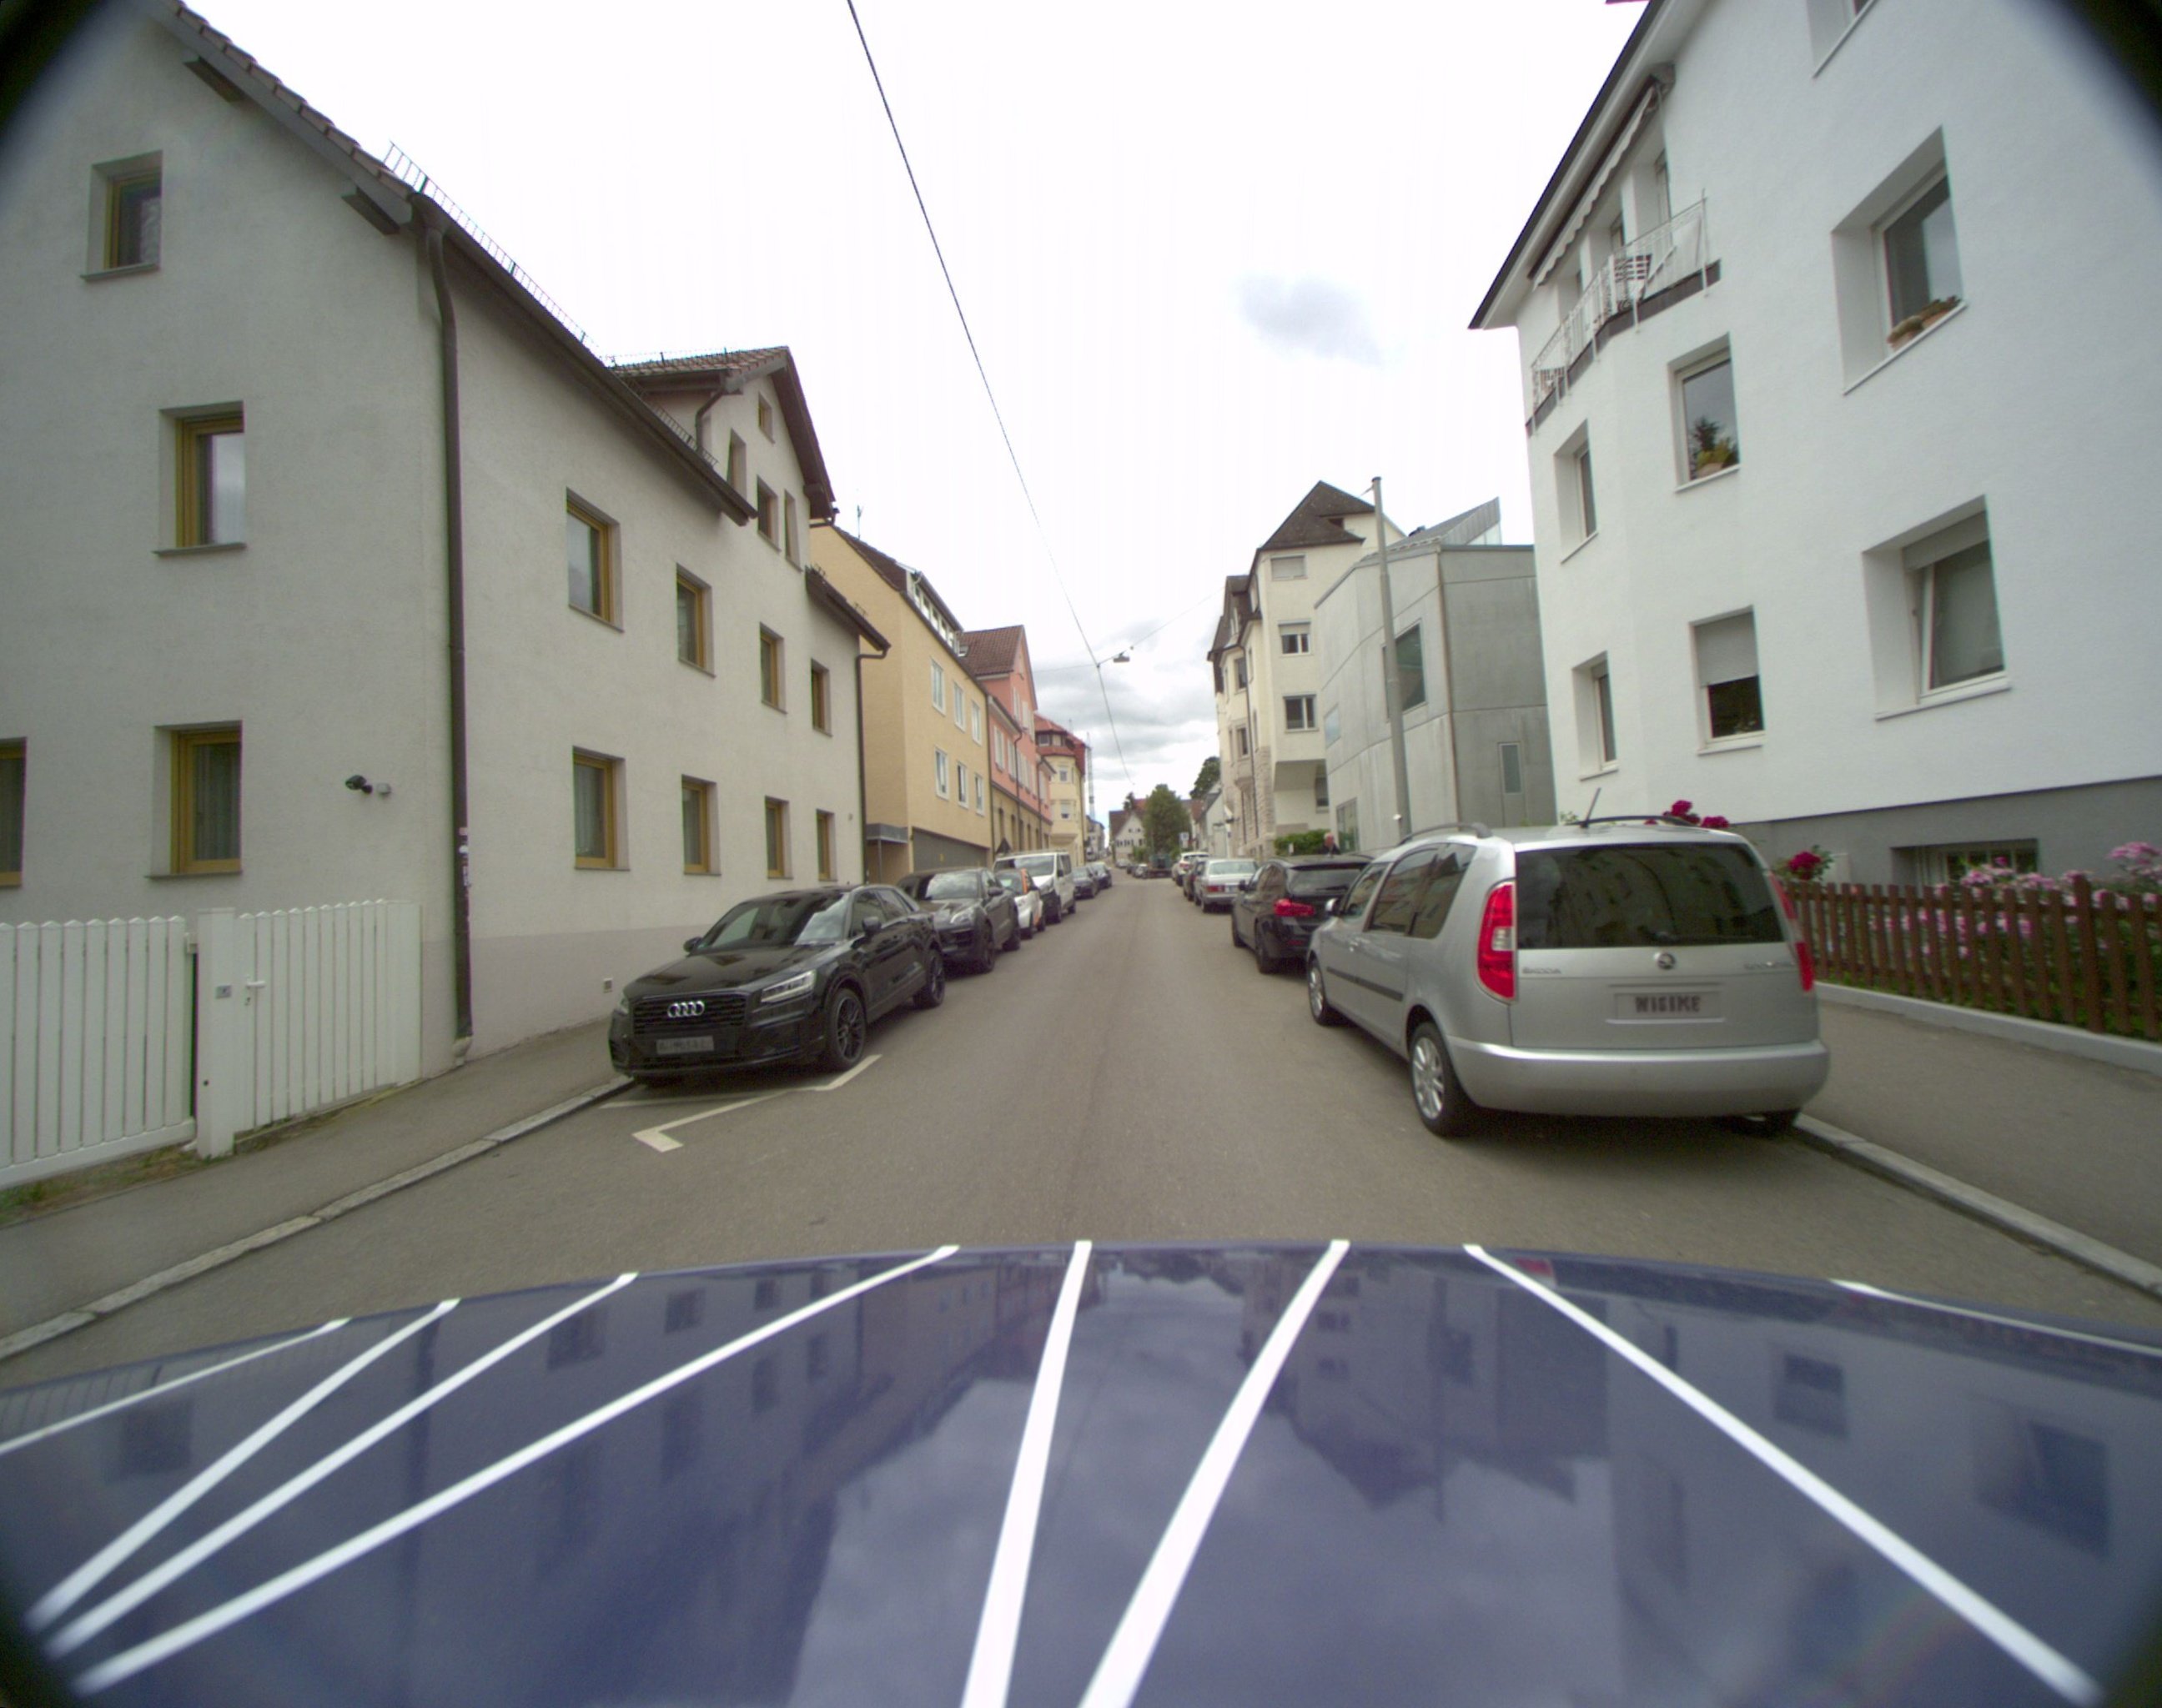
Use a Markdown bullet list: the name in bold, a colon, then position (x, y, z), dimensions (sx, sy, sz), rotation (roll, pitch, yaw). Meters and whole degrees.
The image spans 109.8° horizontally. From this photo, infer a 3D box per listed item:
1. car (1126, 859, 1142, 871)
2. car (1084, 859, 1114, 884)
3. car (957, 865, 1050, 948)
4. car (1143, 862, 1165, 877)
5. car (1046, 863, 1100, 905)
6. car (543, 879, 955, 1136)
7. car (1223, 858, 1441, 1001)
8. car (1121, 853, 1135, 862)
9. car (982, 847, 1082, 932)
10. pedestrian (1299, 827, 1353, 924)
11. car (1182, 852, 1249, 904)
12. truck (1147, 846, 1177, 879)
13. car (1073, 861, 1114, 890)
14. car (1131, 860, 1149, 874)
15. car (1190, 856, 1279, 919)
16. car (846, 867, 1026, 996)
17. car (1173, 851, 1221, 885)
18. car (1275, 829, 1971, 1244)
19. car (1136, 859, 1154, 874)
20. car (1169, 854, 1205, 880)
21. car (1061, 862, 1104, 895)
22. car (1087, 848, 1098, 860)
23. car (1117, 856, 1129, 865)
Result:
- **car**: position (7.417, 1.513, 107.439), dimensions (1.855, 1.641, 3.946), rotation (-1, 0, -1)
- **car**: position (1.180, 1.107, 48.688), dimensions (1.671, 1.470, 3.627), rotation (-3, -1, 5)
- **car**: position (-1.666, 1.108, 17.092), dimensions (1.490, 1.587, 2.792), rotation (-5, -1, 4)
- **car**: position (7.418, 1.550, 77.581), dimensions (1.855, 1.454, 3.947), rotation (-1, -2, 1)
- **car**: position (-0.262, 1.236, 32.700), dimensions (1.856, 1.395, 4.576), rotation (-6, 0, 4)
- **car**: position (-2.650, 1.140, 7.269), dimensions (1.719, 1.556, 4.075), rotation (-5, -1, 6)
- **car**: position (3.129, 0.838, 10.468), dimensions (1.849, 1.449, 4.506), rotation (-2, 0, 5)
- **car**: position (7.797, 0.511, 126.002), dimensions (1.855, 1.441, 3.946), rotation (-1, 0, -1)
- **car**: position (-1.240, 0.921, 22.125), dimensions (1.909, 2.017, 5.735), rotation (-5, -1, 5)
- **pedestrian**: position (4.932, 0.426, 15.269), dimensions (0.817, 1.873, 0.848), rotation (-2, 0, 28)
- **car**: position (4.563, 0.761, 26.357), dimensions (1.900, 1.518, 4.472), rotation (-3, 1, 5)
- **truck**: position (6.927, 0.802, 65.380), dimensions (2.315, 2.535, 6.292), rotation (-1, -2, 4)
- **car**: position (0.766, 1.176, 42.594), dimensions (1.856, 1.395, 4.294), rotation (-5, -1, 5)
- **car**: position (7.445, 1.596, 95.886), dimensions (1.855, 1.641, 3.946), rotation (-1, 0, -1)
- **car**: position (4.152, 0.842, 21.276), dimensions (1.849, 1.404, 5.063), rotation (-3, 0, 5)
- **car**: position (-2.139, 1.100, 12.584), dimensions (1.717, 1.587, 4.500), rotation (-5, -1, 4)
- **car**: position (5.574, 0.663, 37.043), dimensions (1.849, 1.506, 4.242), rotation (-3, -1, 3)
- **car**: position (2.730, 0.777, 5.233), dimensions (1.849, 1.621, 4.288), rotation (-3, -1, 3)
- **car**: position (7.519, 1.479, 89.370), dimensions (1.855, 1.640, 3.947), rotation (-1, -1, 1)
- **car**: position (6.205, 0.746, 44.928), dimensions (1.703, 1.405, 4.242), rotation (-3, -1, 3)
- **car**: position (0.114, 1.190, 37.673), dimensions (1.857, 1.395, 3.968), rotation (-5, -1, 2)
- **car**: position (2.479, 0.058, 170.352), dimensions (2.193, 2.630, 5.825), rotation (-1, 0, -1)
- **car**: position (7.313, 1.073, 132.014), dimensions (1.855, 1.441, 3.944), rotation (-1, 1, -1)
